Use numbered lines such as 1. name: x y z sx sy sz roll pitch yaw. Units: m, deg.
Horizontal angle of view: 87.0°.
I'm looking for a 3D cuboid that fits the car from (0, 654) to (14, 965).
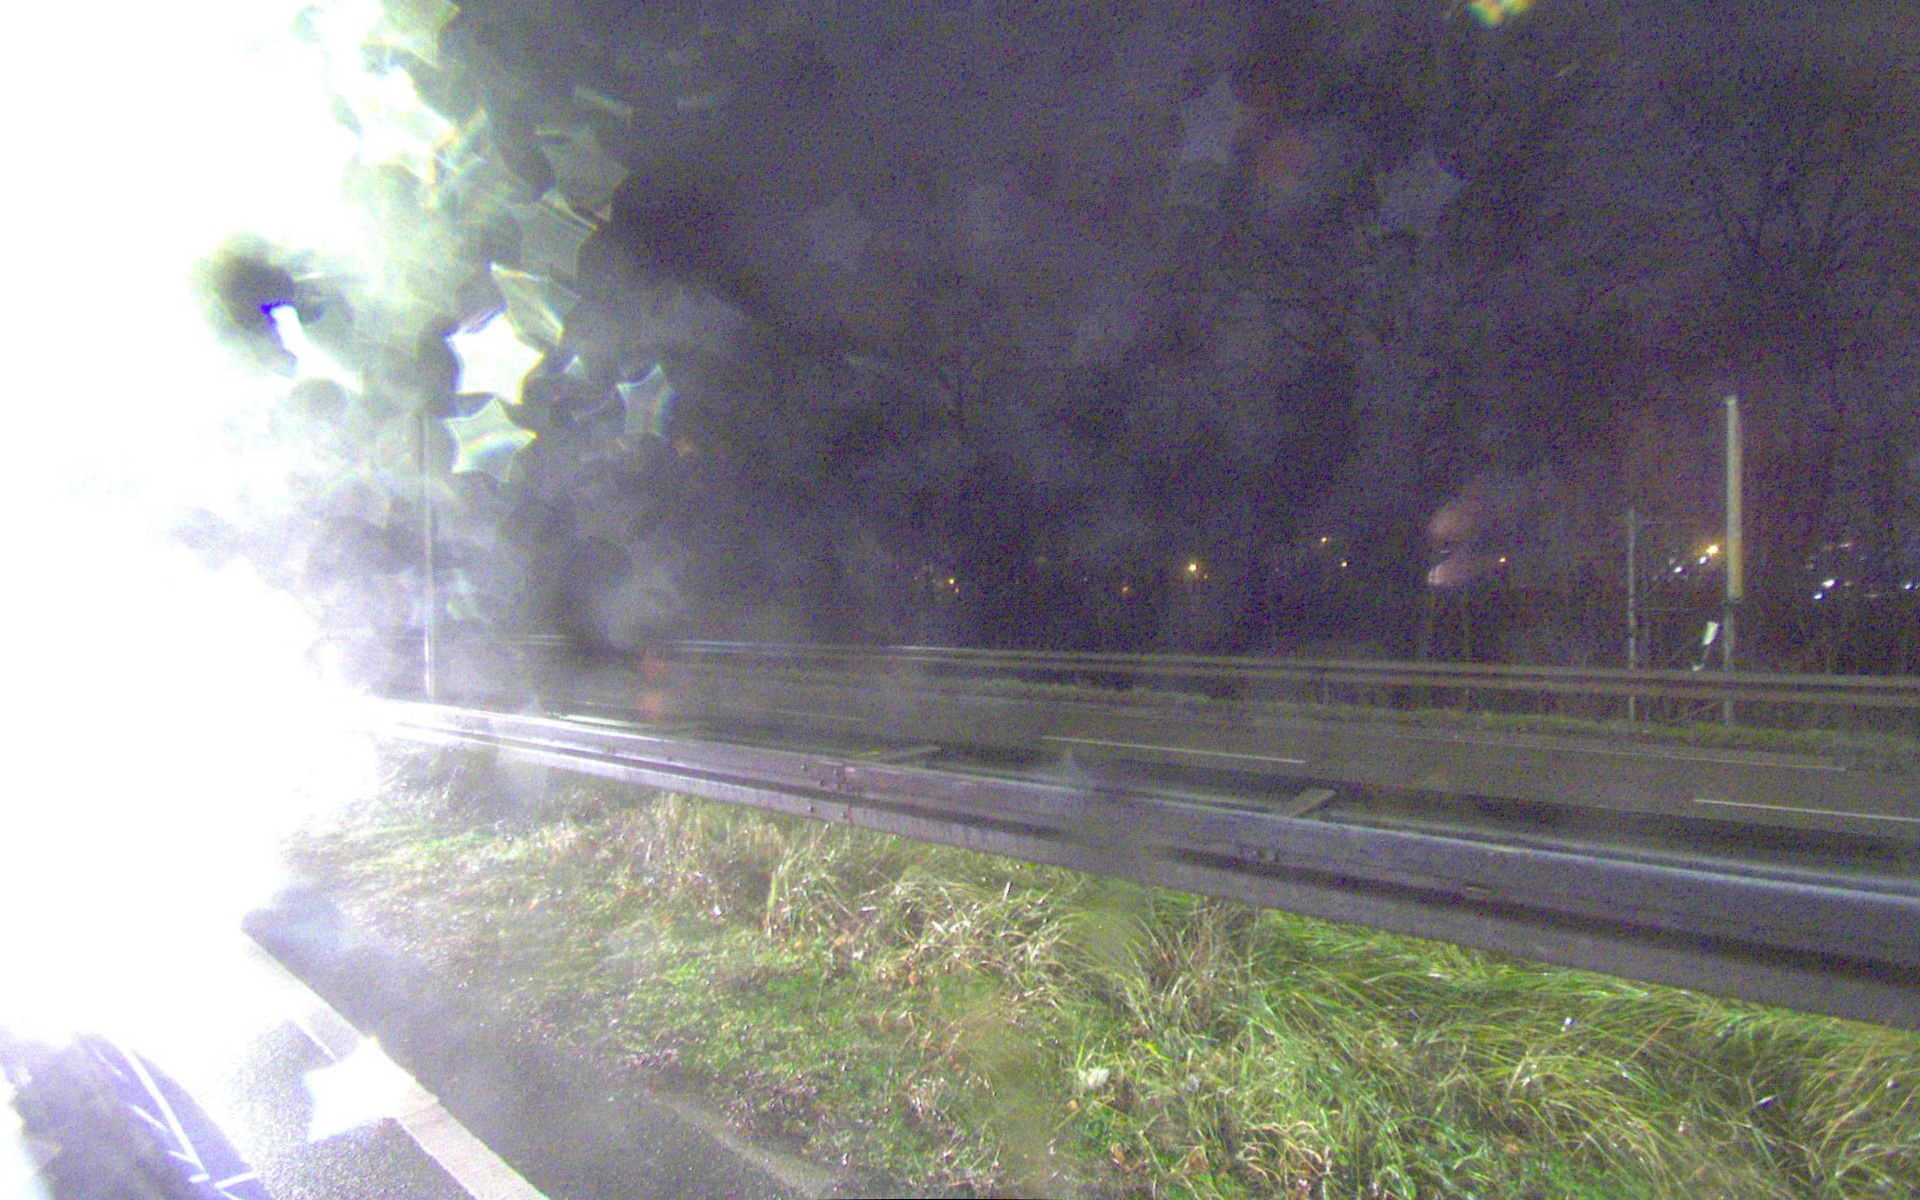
1. car: -5.695 0.828 4.739 3.388 1.435 1.478 -1 1 41
